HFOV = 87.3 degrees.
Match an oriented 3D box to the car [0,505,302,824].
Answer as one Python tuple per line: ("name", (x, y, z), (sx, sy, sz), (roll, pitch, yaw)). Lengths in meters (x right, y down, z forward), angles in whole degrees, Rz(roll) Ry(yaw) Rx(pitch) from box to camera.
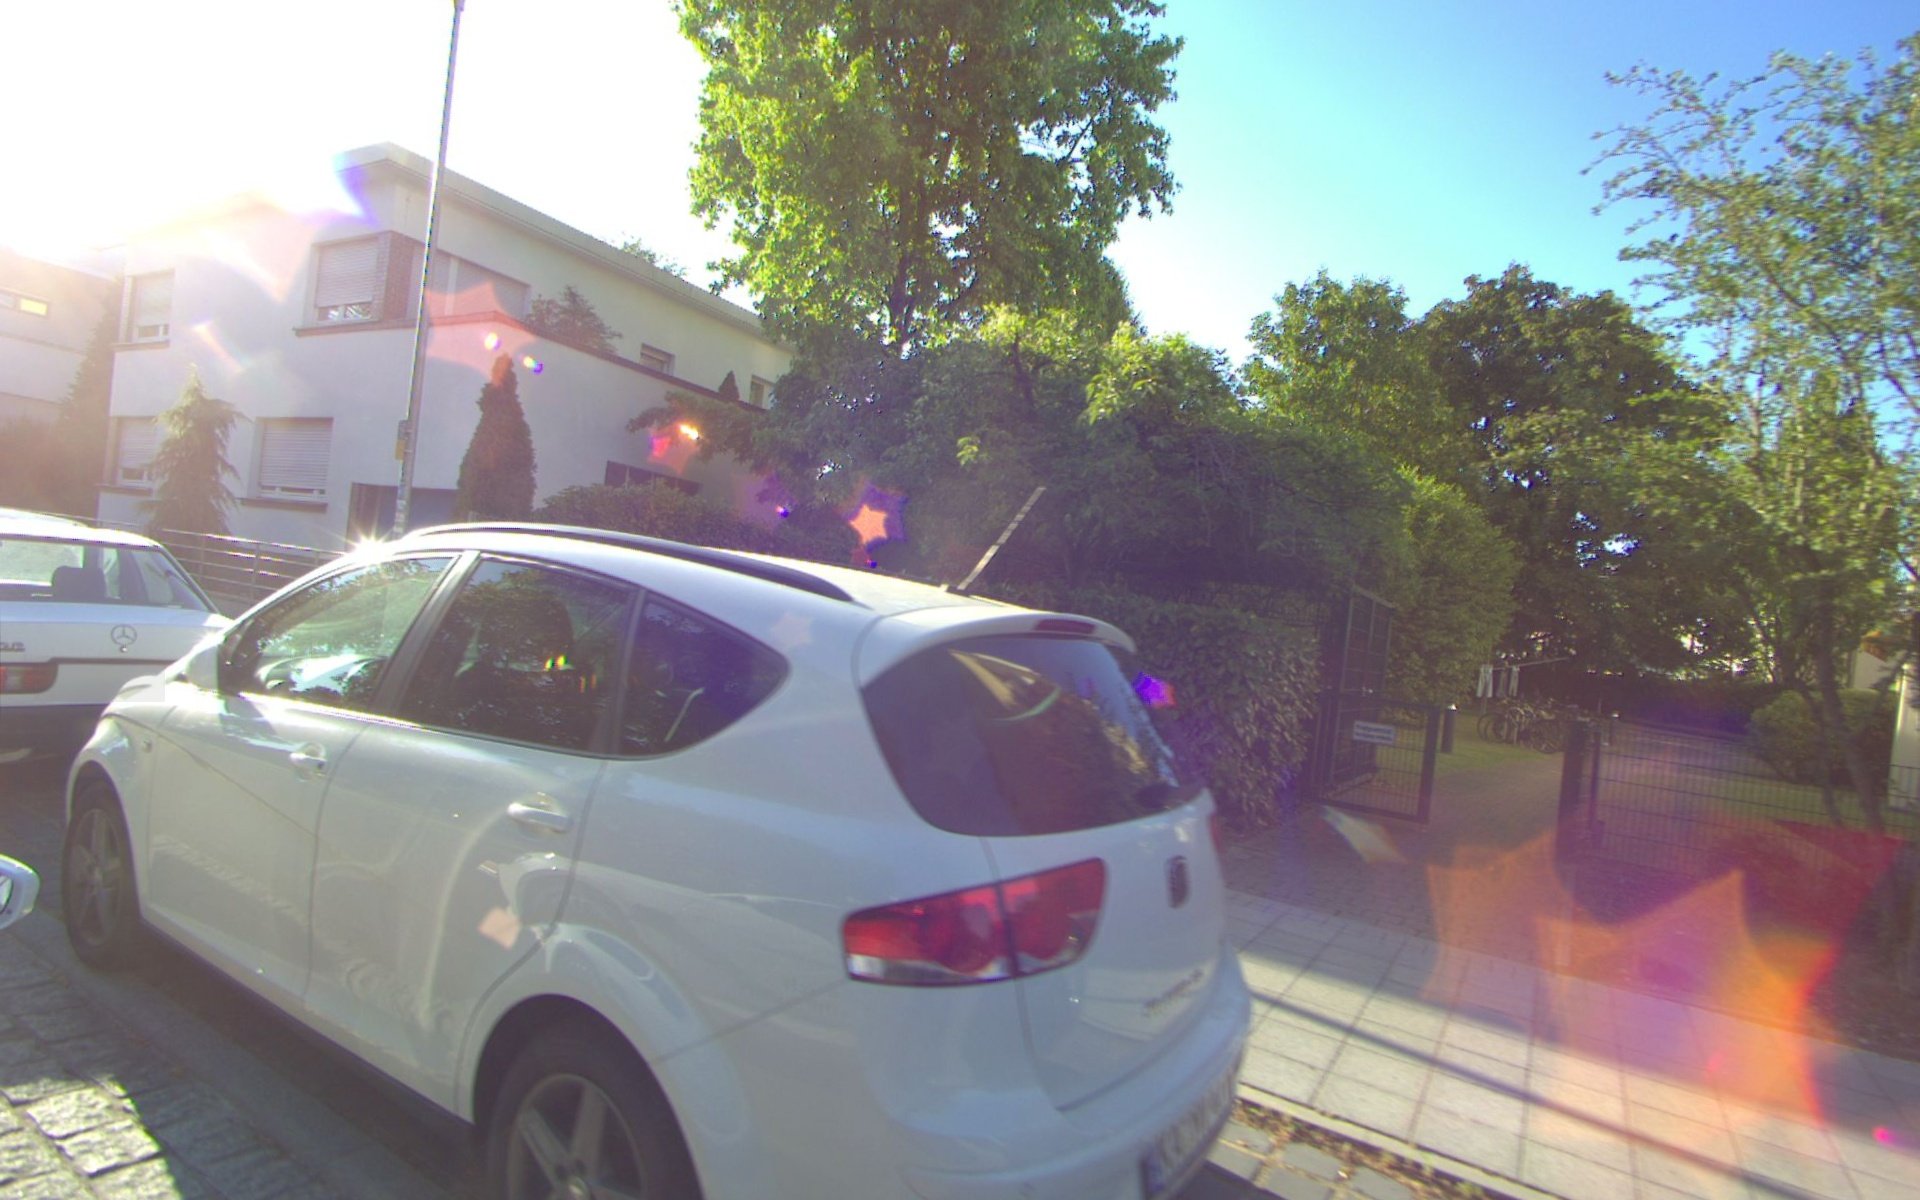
("car", (-5.903, 0.141, 6.020), (4.302, 1.407, 1.565), (6, 0, 32))

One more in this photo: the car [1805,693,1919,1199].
("car", (3.204, 1.127, 0.428), (4.075, 1.575, 1.680), (6, 0, 31))

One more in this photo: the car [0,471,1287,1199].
("car", (-1.305, 0.561, 3.226), (4.063, 1.575, 1.680), (6, 0, 33))

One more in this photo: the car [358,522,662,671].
("car", (-6.331, 0.015, 14.431), (1.619, 1.661, 3.492), (6, -2, 39))

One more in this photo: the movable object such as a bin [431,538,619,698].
("movable object such as a bin", (-4.460, 0.201, 10.359), (1.105, 1.449, 1.239), (6, -1, 33))
